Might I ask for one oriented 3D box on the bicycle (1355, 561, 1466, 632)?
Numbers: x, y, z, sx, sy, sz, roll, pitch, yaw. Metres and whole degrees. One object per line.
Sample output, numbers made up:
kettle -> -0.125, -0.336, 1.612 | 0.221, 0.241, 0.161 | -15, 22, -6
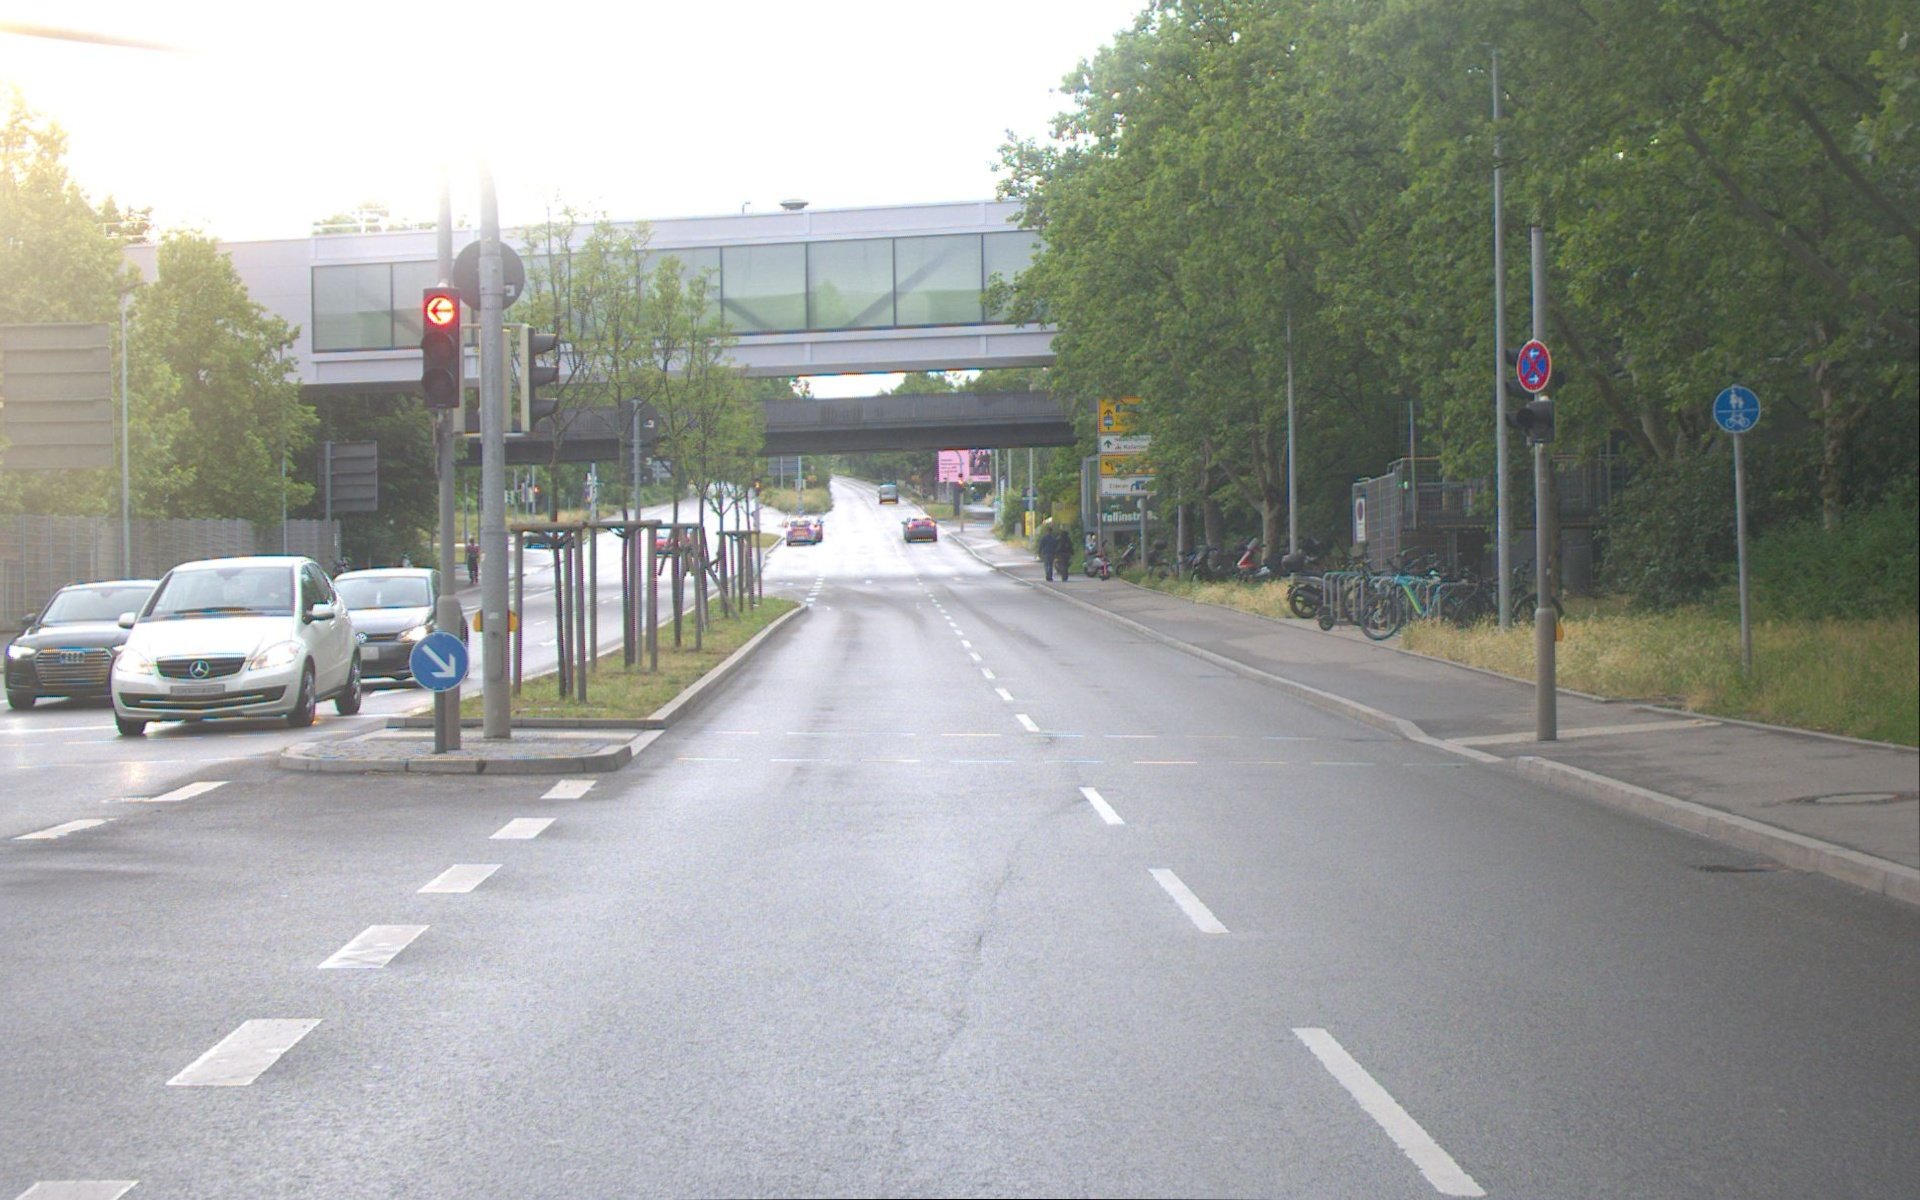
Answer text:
bicycle -> 6.668, -0.052, 50.906 | 1.551, 1.001, 0.393 | -2, 1, -1

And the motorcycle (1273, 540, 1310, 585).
motorcycle -> 9.794, -1.104, 101.571 | 0.348, 1.275, 2.068 | -1, 2, 26

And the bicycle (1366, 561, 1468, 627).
bicycle -> 7.284, -0.104, 54.830 | 1.551, 1.001, 0.393 | -2, 1, -1

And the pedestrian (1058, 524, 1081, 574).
pedestrian -> 3.561, -1.659, 111.867 | 0.651, 1.590, 0.578 | -1, 1, 10

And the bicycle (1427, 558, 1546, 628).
bicycle -> 7.533, -0.104, 49.201 | 1.607, 0.936, 0.387 | -2, 1, -1

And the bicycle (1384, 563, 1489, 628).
bicycle -> 7.391, -0.073, 53.320 | 1.551, 0.955, 0.393 | -2, 1, -1

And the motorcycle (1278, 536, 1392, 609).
motorcycle -> 6.836, -0.506, 62.654 | 2.009, 1.268, 0.441 | -2, 1, 11

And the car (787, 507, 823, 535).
car -> -9.416, -4.791, 209.163 | 2.166, 1.577, 4.664 | 1, 1, -2

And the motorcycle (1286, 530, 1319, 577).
motorcycle -> 9.668, -1.316, 97.031 | 0.645, 1.275, 1.991 | -1, 1, -2

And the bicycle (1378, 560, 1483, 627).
bicycle -> 7.388, -0.109, 53.987 | 1.551, 1.001, 0.393 | -2, 1, -1

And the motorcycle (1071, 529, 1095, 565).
motorcycle -> 4.192, -1.816, 117.119 | 0.470, 1.209, 1.944 | -1, 1, 11

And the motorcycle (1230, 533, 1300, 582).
motorcycle -> 7.298, -1.017, 82.203 | 1.653, 1.146, 0.493 | 1, 0, 7

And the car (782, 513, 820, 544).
car -> -9.195, -4.119, 198.273 | 2.076, 1.712, 4.199 | 1, 1, -4

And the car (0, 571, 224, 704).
car -> -10.036, 0.396, 40.527 | 1.773, 1.399, 4.615 | -2, 1, -1

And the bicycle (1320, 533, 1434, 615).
bicycle -> 7.155, -0.448, 59.008 | 1.857, 1.343, 0.448 | -2, 1, -13

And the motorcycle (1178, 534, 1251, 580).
motorcycle -> 6.820, -1.147, 92.151 | 1.848, 1.187, 0.522 | -2, 2, -17

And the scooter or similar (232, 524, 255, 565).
scooter or similar -> -21.438, -1.670, 102.885 | 0.311, 1.214, 1.308 | -1, 1, 3

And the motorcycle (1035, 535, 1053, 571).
motorcycle -> 2.736, -1.533, 111.939 | 0.469, 1.132, 1.819 | -2, 1, -2

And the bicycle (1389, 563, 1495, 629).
bicycle -> 7.418, -0.062, 52.926 | 1.551, 0.955, 0.393 | -2, 1, -1

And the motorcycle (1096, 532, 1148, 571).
motorcycle -> 5.443, -1.628, 115.846 | 0.546, 1.293, 1.944 | -2, 2, -40

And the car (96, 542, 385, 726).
car -> -6.810, 0.279, 32.988 | 1.771, 1.584, 4.485 | -2, 1, 0

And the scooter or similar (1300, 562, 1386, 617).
scooter or similar -> 6.799, -0.193, 61.019 | 1.472, 0.933, 0.367 | -2, 1, -18

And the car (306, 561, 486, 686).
car -> -6.879, 0.248, 42.261 | 1.577, 1.399, 4.112 | -2, 1, -1

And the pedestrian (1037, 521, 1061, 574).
pedestrian -> 2.899, -1.720, 111.978 | 0.611, 1.715, 0.891 | -1, 1, 8

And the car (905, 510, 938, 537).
car -> -2.219, -4.433, 198.055 | 1.744, 1.465, 4.167 | 0, 2, -2

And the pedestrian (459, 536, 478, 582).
pedestrian -> -19.367, -1.607, 135.443 | 0.520, 1.809, 0.799 | 0, 2, 8

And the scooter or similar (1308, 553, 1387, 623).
scooter or similar -> 6.300, -0.196, 55.903 | 1.212, 1.087, 0.312 | -2, 1, -5
